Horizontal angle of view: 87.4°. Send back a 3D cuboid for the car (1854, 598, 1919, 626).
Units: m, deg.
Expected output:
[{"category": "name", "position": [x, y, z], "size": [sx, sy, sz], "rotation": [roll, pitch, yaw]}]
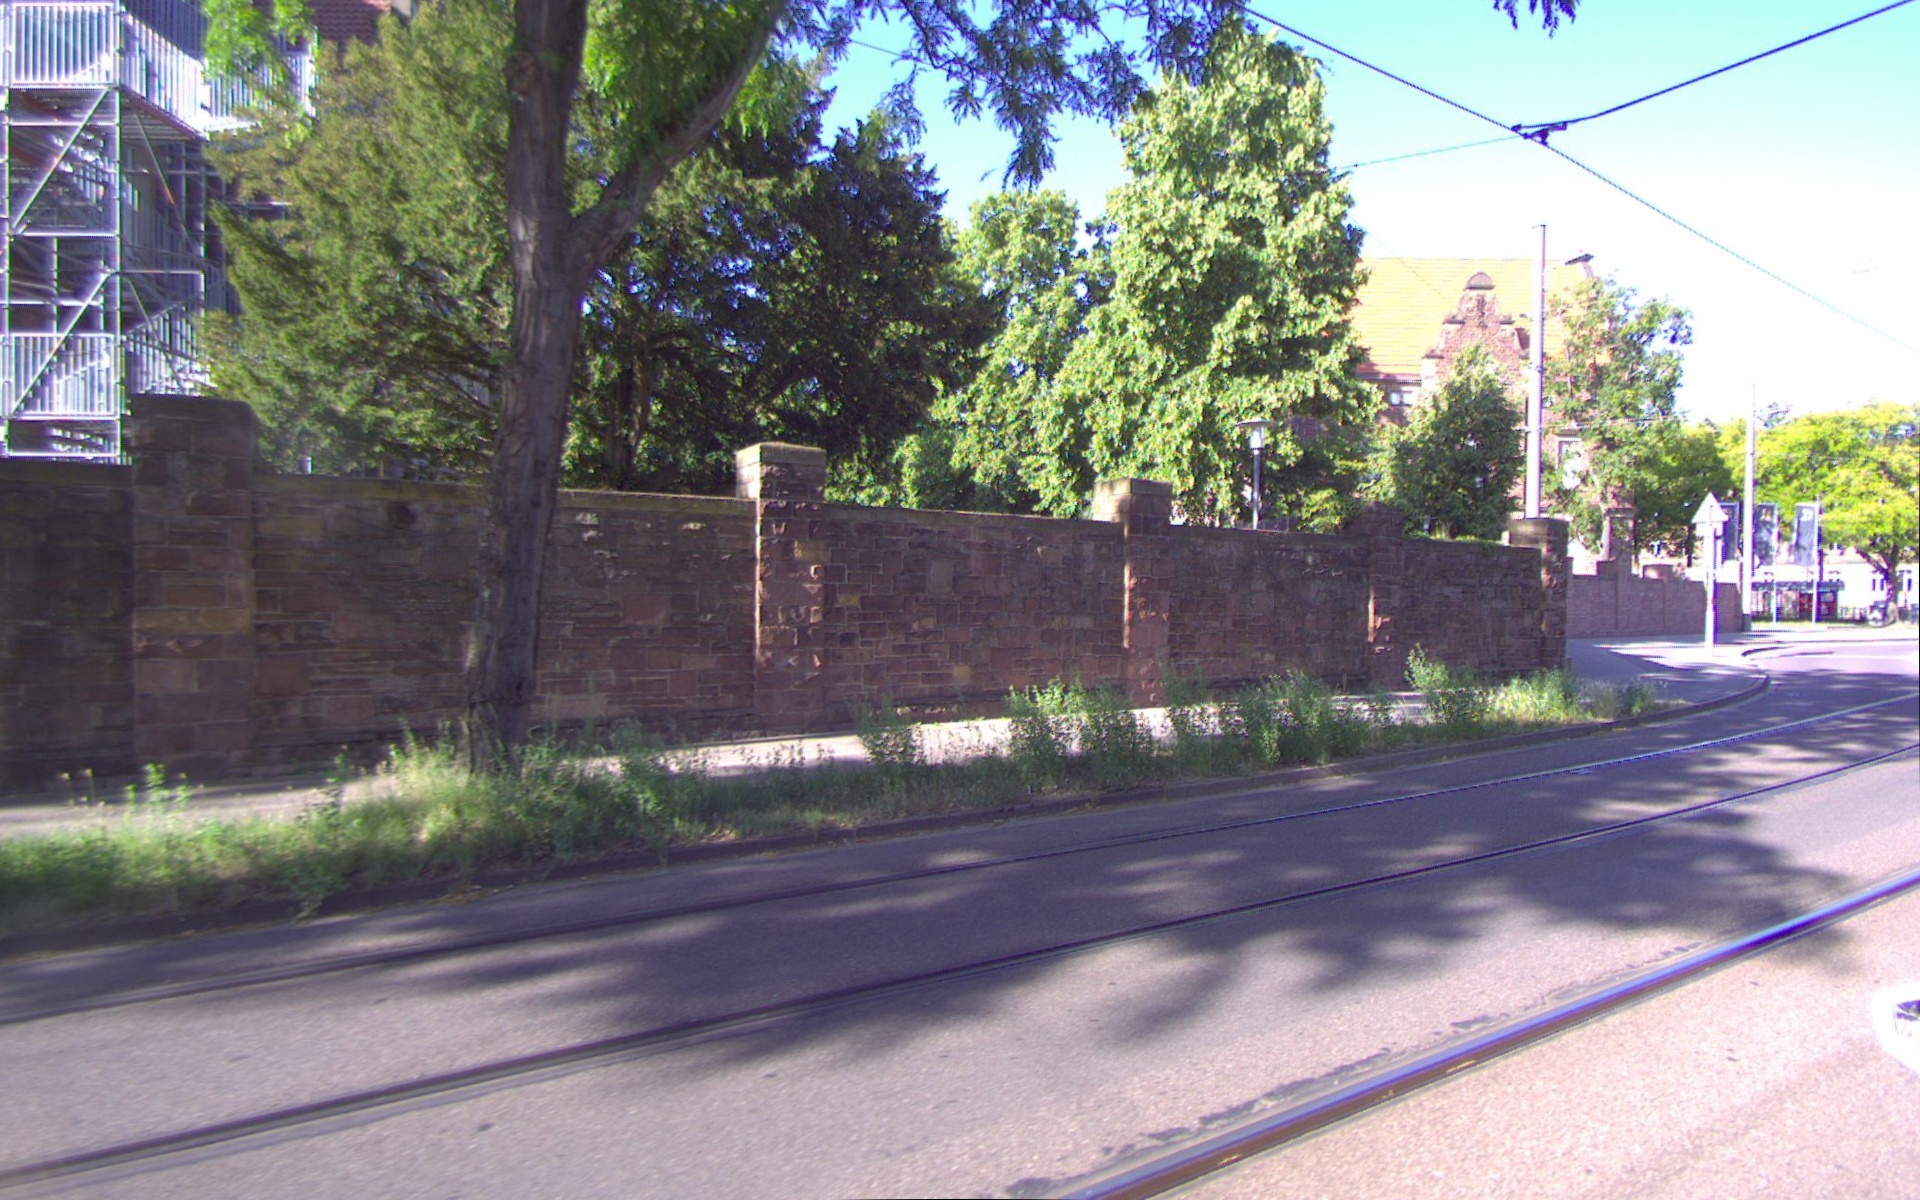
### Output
[{"category": "car", "position": [63.120, 0.771, 67.702], "size": [1.979, 1.814, 3.962], "rotation": [0, 0, -34]}]
